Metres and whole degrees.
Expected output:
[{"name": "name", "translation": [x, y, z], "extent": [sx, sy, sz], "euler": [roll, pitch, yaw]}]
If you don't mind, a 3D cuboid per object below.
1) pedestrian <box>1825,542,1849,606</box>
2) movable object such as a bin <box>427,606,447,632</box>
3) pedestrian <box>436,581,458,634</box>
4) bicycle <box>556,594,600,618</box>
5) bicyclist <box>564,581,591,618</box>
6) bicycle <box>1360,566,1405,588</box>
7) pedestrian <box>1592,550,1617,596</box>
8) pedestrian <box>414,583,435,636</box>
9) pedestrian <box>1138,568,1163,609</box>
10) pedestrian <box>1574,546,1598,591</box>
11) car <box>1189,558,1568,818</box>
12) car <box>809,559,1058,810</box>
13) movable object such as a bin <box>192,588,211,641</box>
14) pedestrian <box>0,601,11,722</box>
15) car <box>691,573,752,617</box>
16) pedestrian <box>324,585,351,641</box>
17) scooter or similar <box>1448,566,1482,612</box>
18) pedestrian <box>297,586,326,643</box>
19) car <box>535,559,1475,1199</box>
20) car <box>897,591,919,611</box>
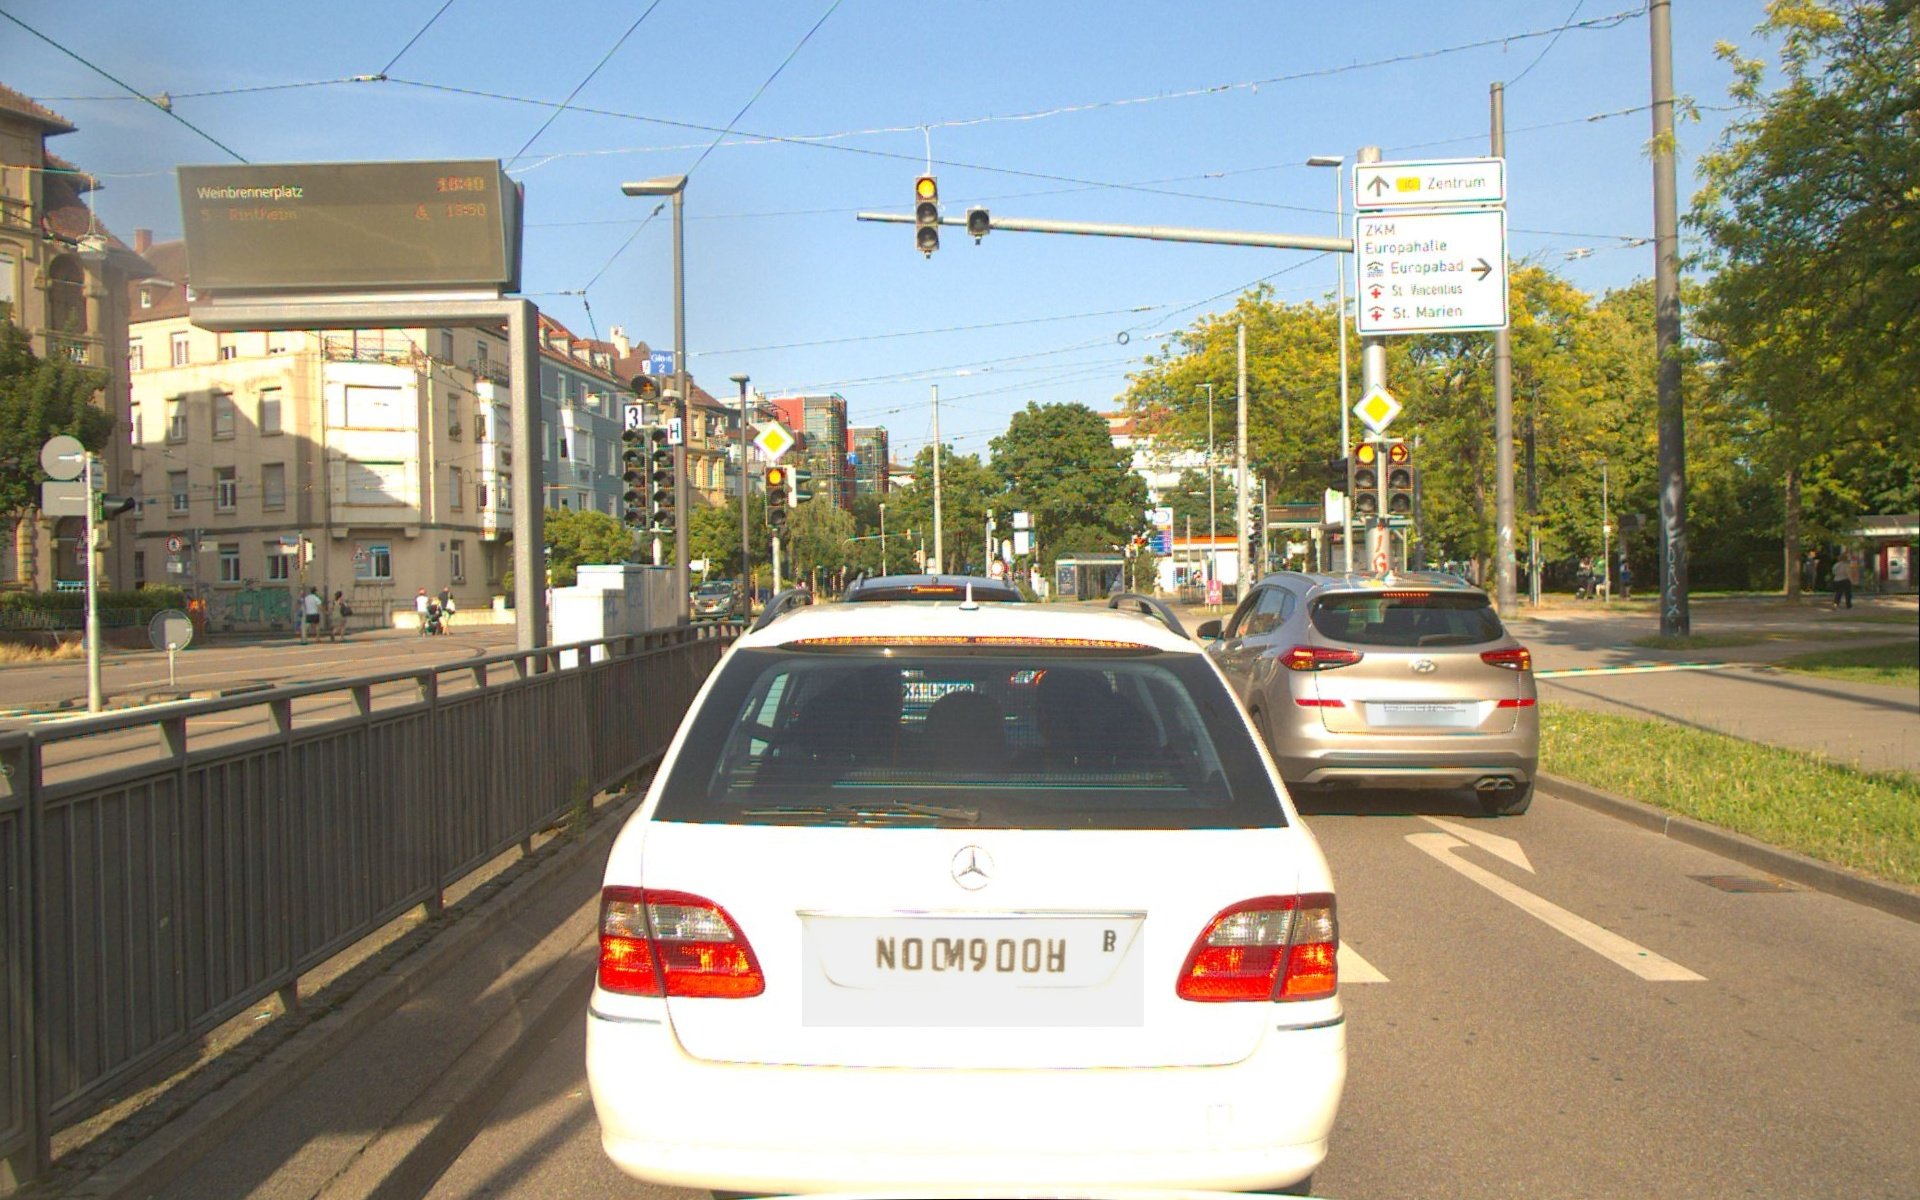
[{"name": "pedestrian", "translation": [26.302, -0.789, 49.604], "extent": [0.593, 1.900, 0.460], "euler": [1, -1, 35]}, {"name": "movable object such as a bin", "translation": [-19.766, 0.717, 62.508], "extent": [0.571, 0.963, 0.663], "euler": [-1, 0, -2]}, {"name": "pedestrian", "translation": [-19.171, 0.281, 61.774], "extent": [0.573, 1.912, 0.626], "euler": [-1, 4, -3]}, {"name": "bicycle", "translation": [-17.071, 0.257, 73.983], "extent": [0.726, 1.024, 1.993], "euler": [-1, 0, 30]}, {"name": "bicyclist", "translation": [-17.090, -0.030, 73.908], "extent": [0.647, 1.597, 1.041], "euler": [-1, 0, 30]}, {"name": "bicycle", "translation": [19.534, -1.070, 76.481], "extent": [1.975, 0.963, 0.880], "euler": [-1, 0, 19]}, {"name": "pedestrian", "translation": [24.518, -1.023, 62.942], "extent": [0.628, 1.694, 0.690], "euler": [-1, 0, -1]}, {"name": "pedestrian", "translation": [-19.927, 0.350, 61.546], "extent": [0.573, 1.913, 0.626], "euler": [-1, 0, -3]}, {"name": "pedestrian", "translation": [9.625, -0.577, 83.513], "extent": [0.976, 2.049, 0.827], "euler": [-1, 0, 27]}, {"name": "pedestrian", "translation": [24.247, -1.222, 64.111], "extent": [0.628, 1.694, 0.690], "euler": [-1, 0, -1]}, {"name": "car", "translation": [2.893, 0.540, 12.291], "extent": [1.798, 1.628, 3.814], "euler": [0, 0, -1]}, {"name": "car", "translation": [-0.198, 0.534, 12.656], "extent": [1.608, 1.628, 3.814], "euler": [0, 0, -1]}, {"name": "movable object such as a bin", "translation": [-25.535, 0.477, 55.664], "extent": [0.261, 1.739, 2.357], "euler": [-2, 1, -31]}, {"name": "pedestrian", "translation": [-13.135, 0.832, 22.011], "extent": [0.578, 1.617, 0.715], "euler": [-1, 0, -5]}, {"name": "car", "translation": [-11.739, -0.257, 81.786], "extent": [2.101, 2.049, 5.388], "euler": [-1, 0, 1]}, {"name": "pedestrian", "translation": [-21.023, 0.440, 55.856], "extent": [0.661, 1.880, 0.649], "euler": [-1, 0, -3]}, {"name": "scooter or similar", "translation": [13.934, -0.306, 45.669], "extent": [0.345, 1.253, 1.131], "euler": [-1, 0, -15]}, {"name": "pedestrian", "translation": [-21.992, 0.496, 56.097], "extent": [0.644, 1.913, 0.627], "euler": [-1, 0, 14]}, {"name": "car", "translation": [0.063, 0.673, 5.074], "extent": [1.798, 1.527, 3.814], "euler": [0, 0, -1]}, {"name": "car", "translation": [-4.344, 0.062, 139.193], "extent": [1.642, 1.552, 4.125], "euler": [-1, 2, 0]}]
